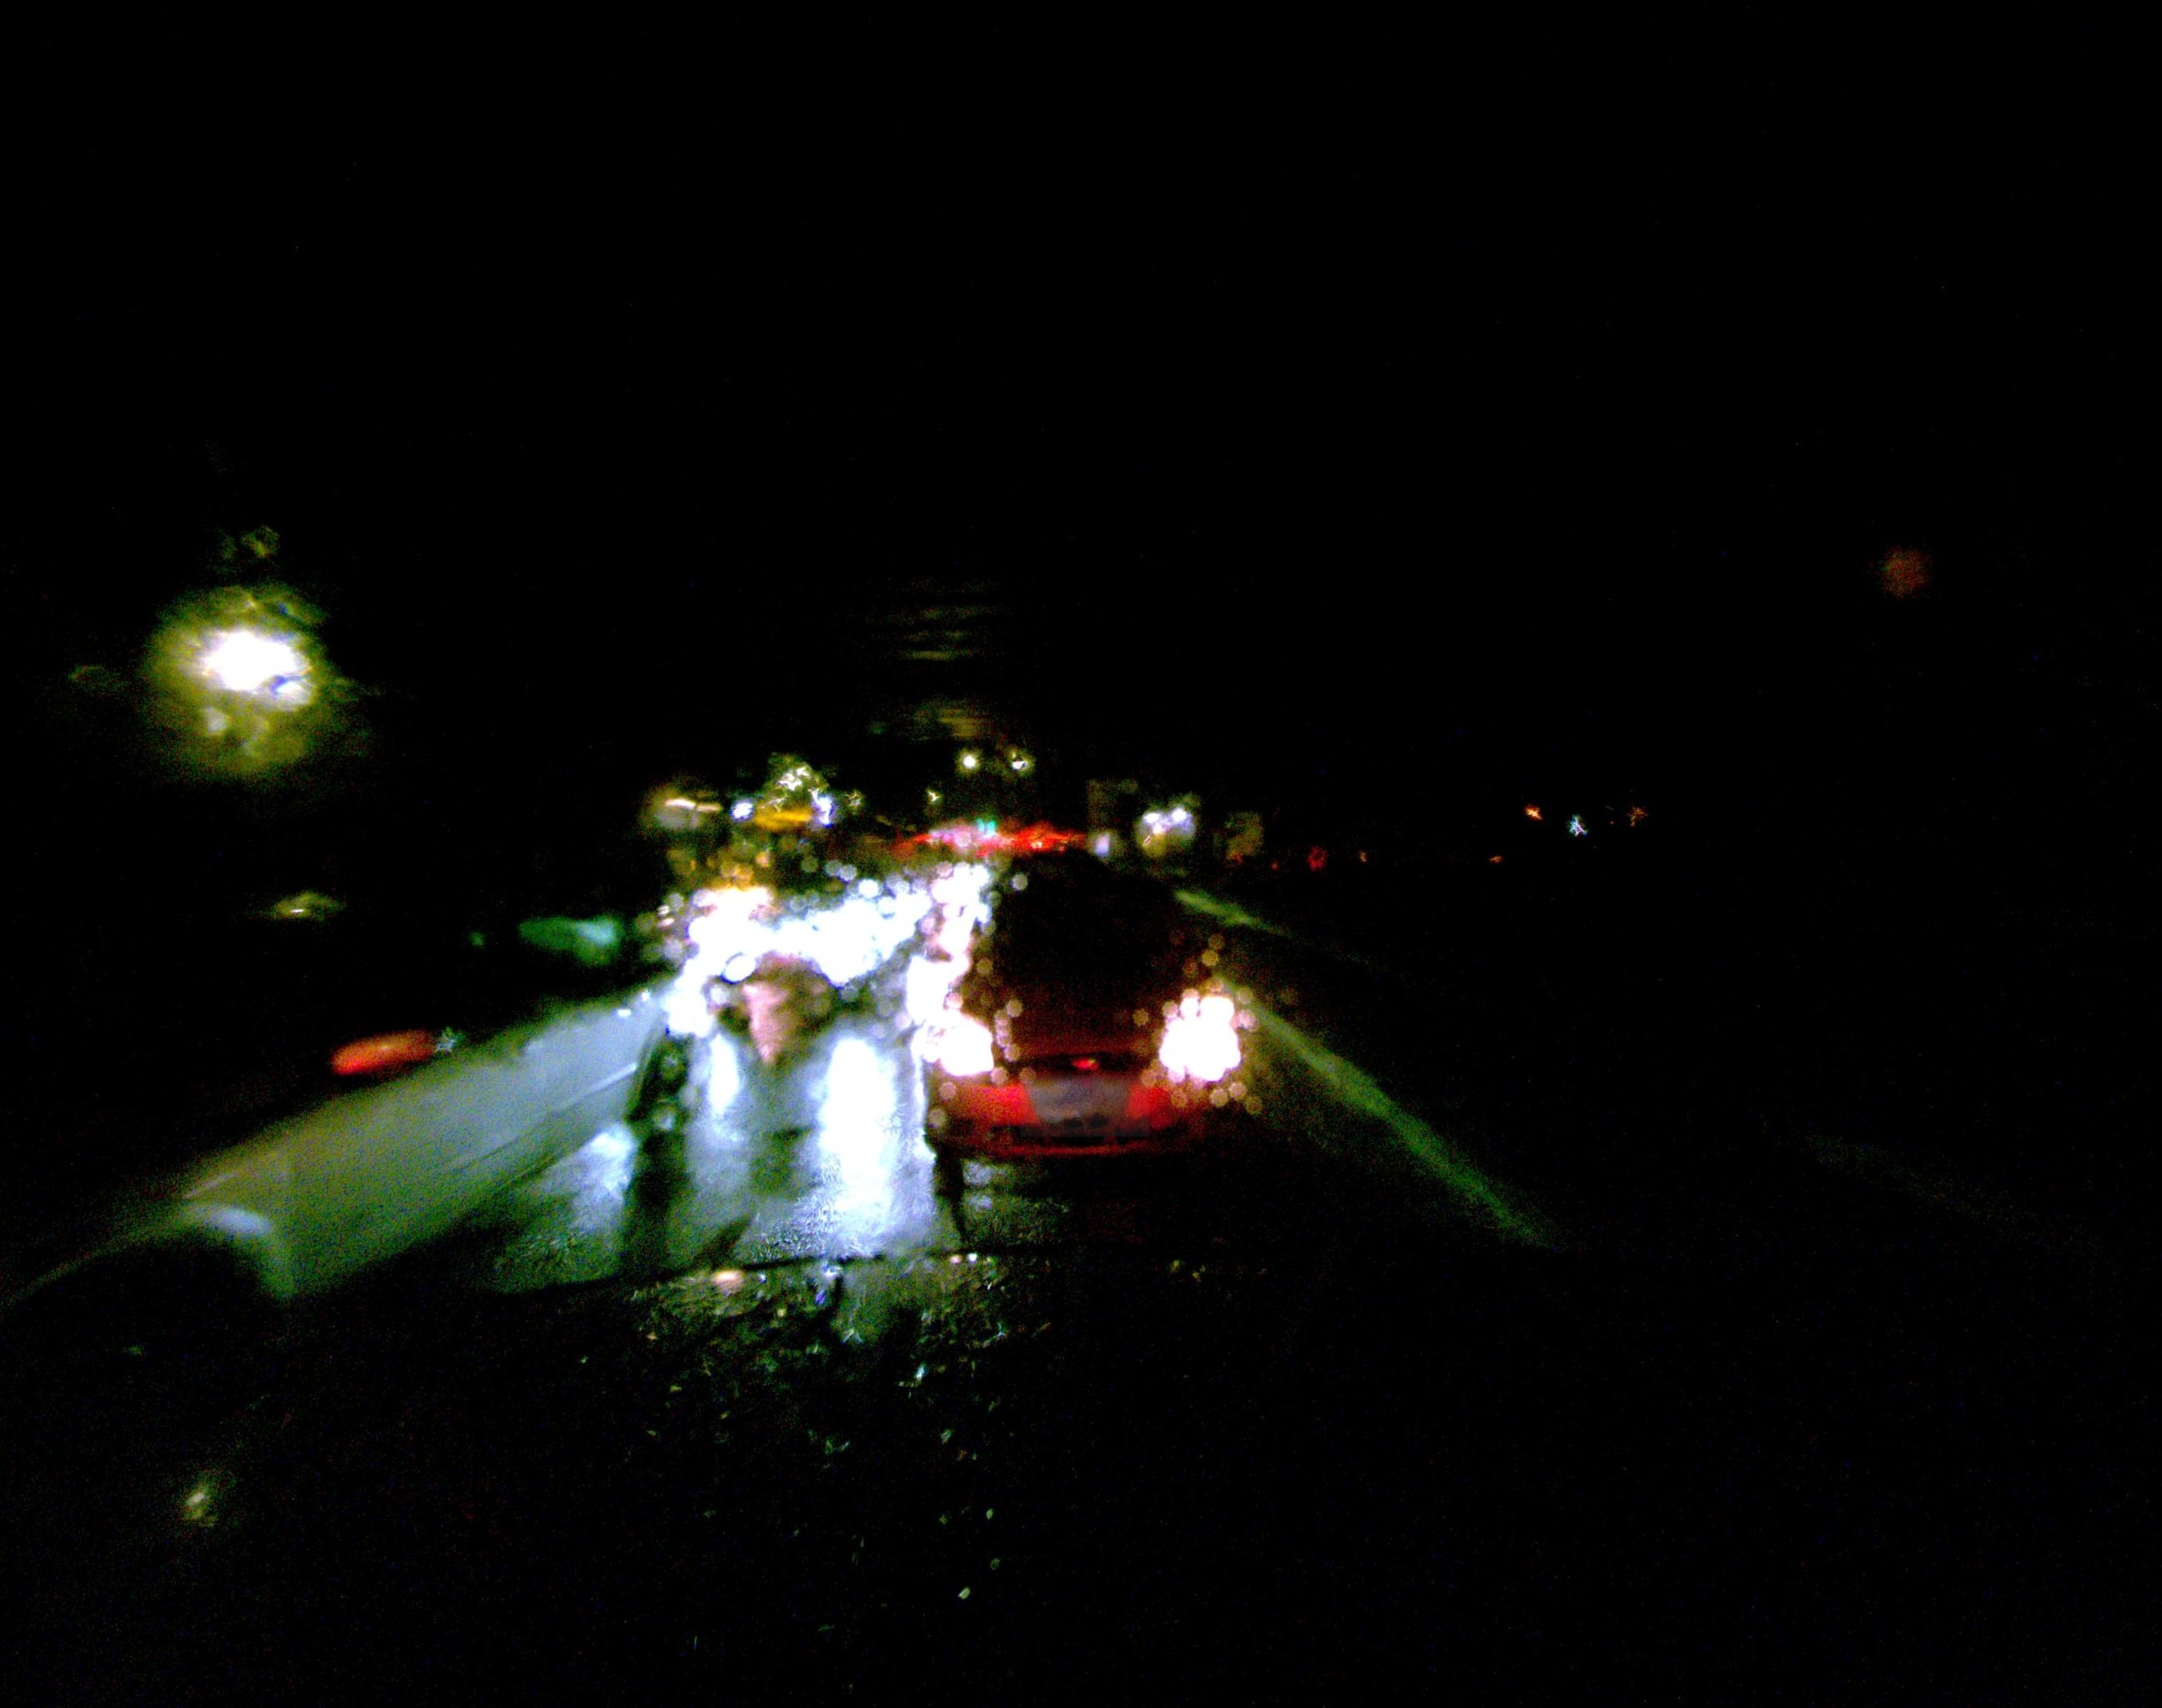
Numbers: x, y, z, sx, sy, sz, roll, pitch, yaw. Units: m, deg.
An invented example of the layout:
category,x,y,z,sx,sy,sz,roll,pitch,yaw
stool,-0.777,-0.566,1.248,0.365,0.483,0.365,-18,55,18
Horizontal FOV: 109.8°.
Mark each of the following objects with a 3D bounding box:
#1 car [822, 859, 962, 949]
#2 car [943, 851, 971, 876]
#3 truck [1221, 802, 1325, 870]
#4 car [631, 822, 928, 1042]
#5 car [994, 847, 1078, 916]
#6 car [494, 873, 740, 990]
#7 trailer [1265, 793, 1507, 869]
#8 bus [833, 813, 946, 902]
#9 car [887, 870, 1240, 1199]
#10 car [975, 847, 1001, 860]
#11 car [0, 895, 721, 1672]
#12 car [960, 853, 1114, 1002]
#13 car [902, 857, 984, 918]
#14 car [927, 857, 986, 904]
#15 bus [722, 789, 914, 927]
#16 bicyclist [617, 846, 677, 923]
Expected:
category,x,y,z,sx,sy,sz,roll,pitch,yaw
car,-3.749,0.931,15.763,1.869,1.503,3.766,-2,1,1
car,-8.307,0.596,50.870,1.744,1.581,3.996,-2,1,-10
truck,12.787,-1.152,50.576,6.364,4.152,3.974,-2,1,16
car,-3.377,0.736,9.601,1.999,2.076,4.347,-2,1,-1
car,-1.120,0.632,19.726,1.881,1.534,3.999,-2,1,-2
car,-7.000,1.077,11.982,1.755,1.422,3.758,-1,0,-4
trailer,19.266,-1.392,49.232,13.899,4.152,3.972,-2,1,10
bus,-7.765,0.122,32.257,2.777,3.105,9.758,-2,0,-4
car,-0.054,0.894,5.531,1.603,1.360,3.942,-2,1,1
car,-11.746,-0.070,95.983,1.826,1.595,4.134,-3,1,-27
car,-3.165,1.022,2.694,1.792,1.359,3.999,-2,2,0
car,-0.475,0.837,10.641,1.683,1.591,3.996,-2,1,1
car,-3.928,0.909,22.264,1.629,1.494,3.999,-2,1,0
car,-4.406,0.891,27.464,1.683,1.463,3.998,-2,1,-4
bus,-7.156,0.110,22.511,2.777,3.105,9.758,-2,0,-4
bicyclist,-10.182,0.692,17.875,0.798,1.752,0.901,-2,1,1
